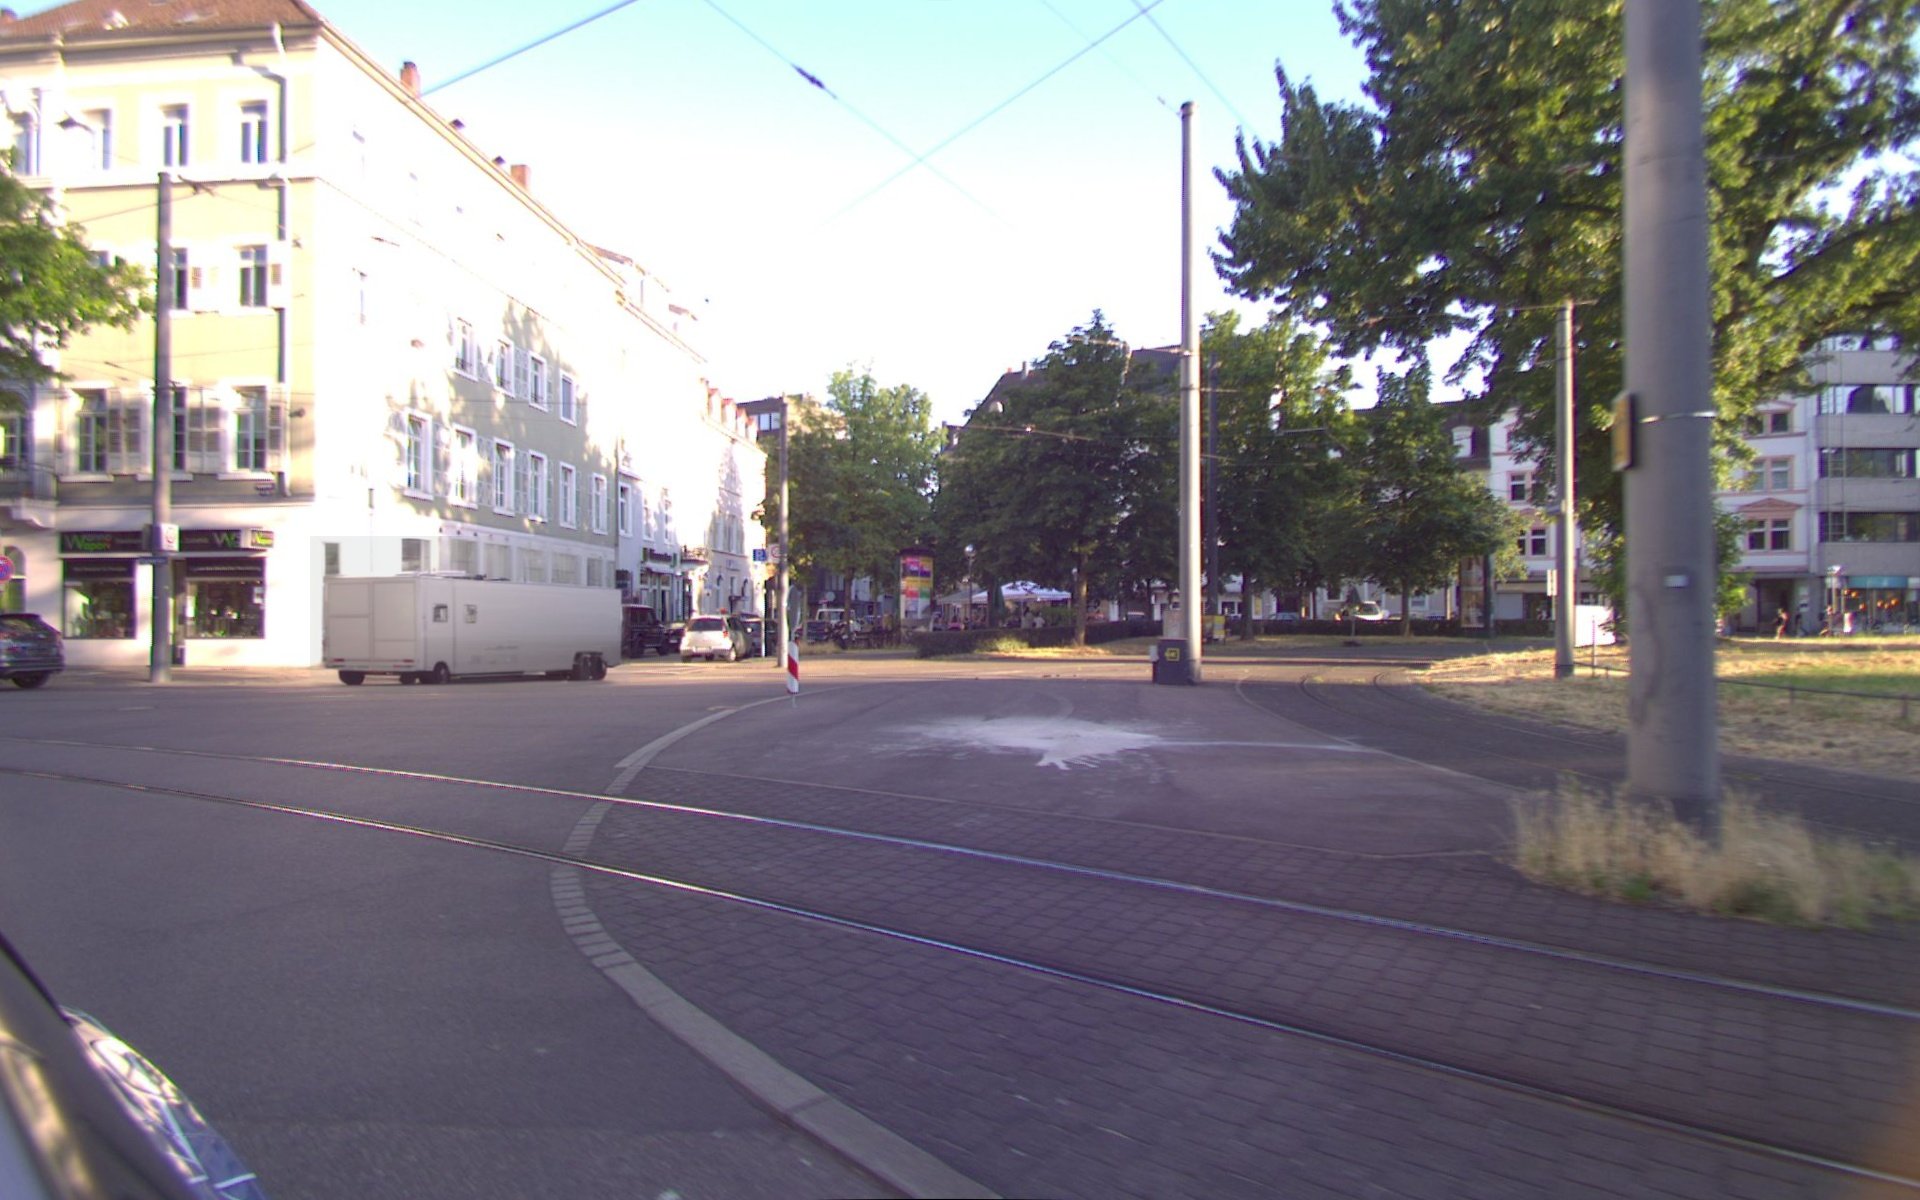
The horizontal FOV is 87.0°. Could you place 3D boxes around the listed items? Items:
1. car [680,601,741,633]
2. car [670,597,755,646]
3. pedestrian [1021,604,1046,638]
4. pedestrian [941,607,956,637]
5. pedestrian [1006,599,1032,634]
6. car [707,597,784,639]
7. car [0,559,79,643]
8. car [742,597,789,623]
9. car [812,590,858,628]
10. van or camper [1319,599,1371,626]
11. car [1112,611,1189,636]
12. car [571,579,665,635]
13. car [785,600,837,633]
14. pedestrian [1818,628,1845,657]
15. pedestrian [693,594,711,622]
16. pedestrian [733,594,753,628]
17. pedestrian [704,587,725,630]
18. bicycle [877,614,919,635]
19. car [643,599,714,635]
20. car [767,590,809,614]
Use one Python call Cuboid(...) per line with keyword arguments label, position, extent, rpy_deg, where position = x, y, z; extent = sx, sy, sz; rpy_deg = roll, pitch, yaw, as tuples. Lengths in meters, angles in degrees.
Cuboid(label="car", position=(-12.531, 0.832, 51.056), extent=(1.874, 1.527, 4.137), rpy_deg=(0, 0, 3))
Cuboid(label="car", position=(-8.264, 0.696, 34.083), extent=(1.705, 1.527, 3.996), rpy_deg=(0, 0, 3))
Cuboid(label="pedestrian", position=(3.077, 0.890, 42.445), extent=(0.760, 1.421, 0.746), rpy_deg=(1, -1, -43))
Cuboid(label="pedestrian", position=(-0.479, 0.926, 43.054), extent=(0.621, 1.243, 0.517), rpy_deg=(0, 0, 3))
Cuboid(label="pedestrian", position=(2.428, 0.684, 41.436), extent=(0.760, 1.421, 0.746), rpy_deg=(1, -1, -43))
Cuboid(label="car", position=(-8.132, 0.664, 38.709), extent=(1.874, 1.527, 4.137), rpy_deg=(0, 0, 3))
Cuboid(label="car", position=(-21.531, 0.042, 21.199), extent=(4.293, 1.689, 1.971), rpy_deg=(0, -3, -4))
Cuboid(label="car", position=(-11.807, 0.598, 61.727), extent=(1.874, 1.527, 4.137), rpy_deg=(0, 0, 3))
Cuboid(label="car", position=(-6.932, 0.494, 56.263), extent=(1.874, 2.045, 3.992), rpy_deg=(0, 0, 3))
Cuboid(label="van or camper", position=(23.832, 0.780, 62.776), extent=(1.735, 1.652, 3.693), rpy_deg=(0, -1, -1))
Cuboid(label="car", position=(8.893, 1.090, 47.391), extent=(3.213, 1.126, 1.724), rpy_deg=(0, -1, -5))
Cuboid(label="car", position=(-13.082, 0.259, 39.069), extent=(1.901, 2.029, 4.630), rpy_deg=(0, 0, 2))
Cuboid(label="car", position=(-7.373, 0.803, 50.265), extent=(1.874, 1.527, 3.632), rpy_deg=(0, 0, 3))
Cuboid(label="pedestrian", position=(46.394, 2.235, 53.871), extent=(0.759, 1.515, 0.747), rpy_deg=(0, -1, -11))
Cuboid(label="pedestrian", position=(-14.394, 0.442, 56.427), extent=(0.762, 1.569, 0.744), rpy_deg=(0, -1, 5))
Cuboid(label="pedestrian", position=(-10.235, 0.507, 47.727), extent=(0.735, 1.592, 0.771), rpy_deg=(0, -1, 4))
Cuboid(label="pedestrian", position=(-11.077, 0.392, 45.726), extent=(0.735, 1.950, 0.771), rpy_deg=(0, -1, 4))
Cuboid(label="bicycle", position=(-2.518, 0.983, 41.158), extent=(1.802, 0.844, 0.455), rpy_deg=(0, -1, 34))
Cuboid(label="car", position=(-12.680, 0.759, 45.827), extent=(1.874, 1.527, 4.137), rpy_deg=(0, 0, 3))
Cuboid(label="car", position=(-11.353, 0.123, 66.900), extent=(1.874, 1.527, 4.137), rpy_deg=(0, 0, 3))
